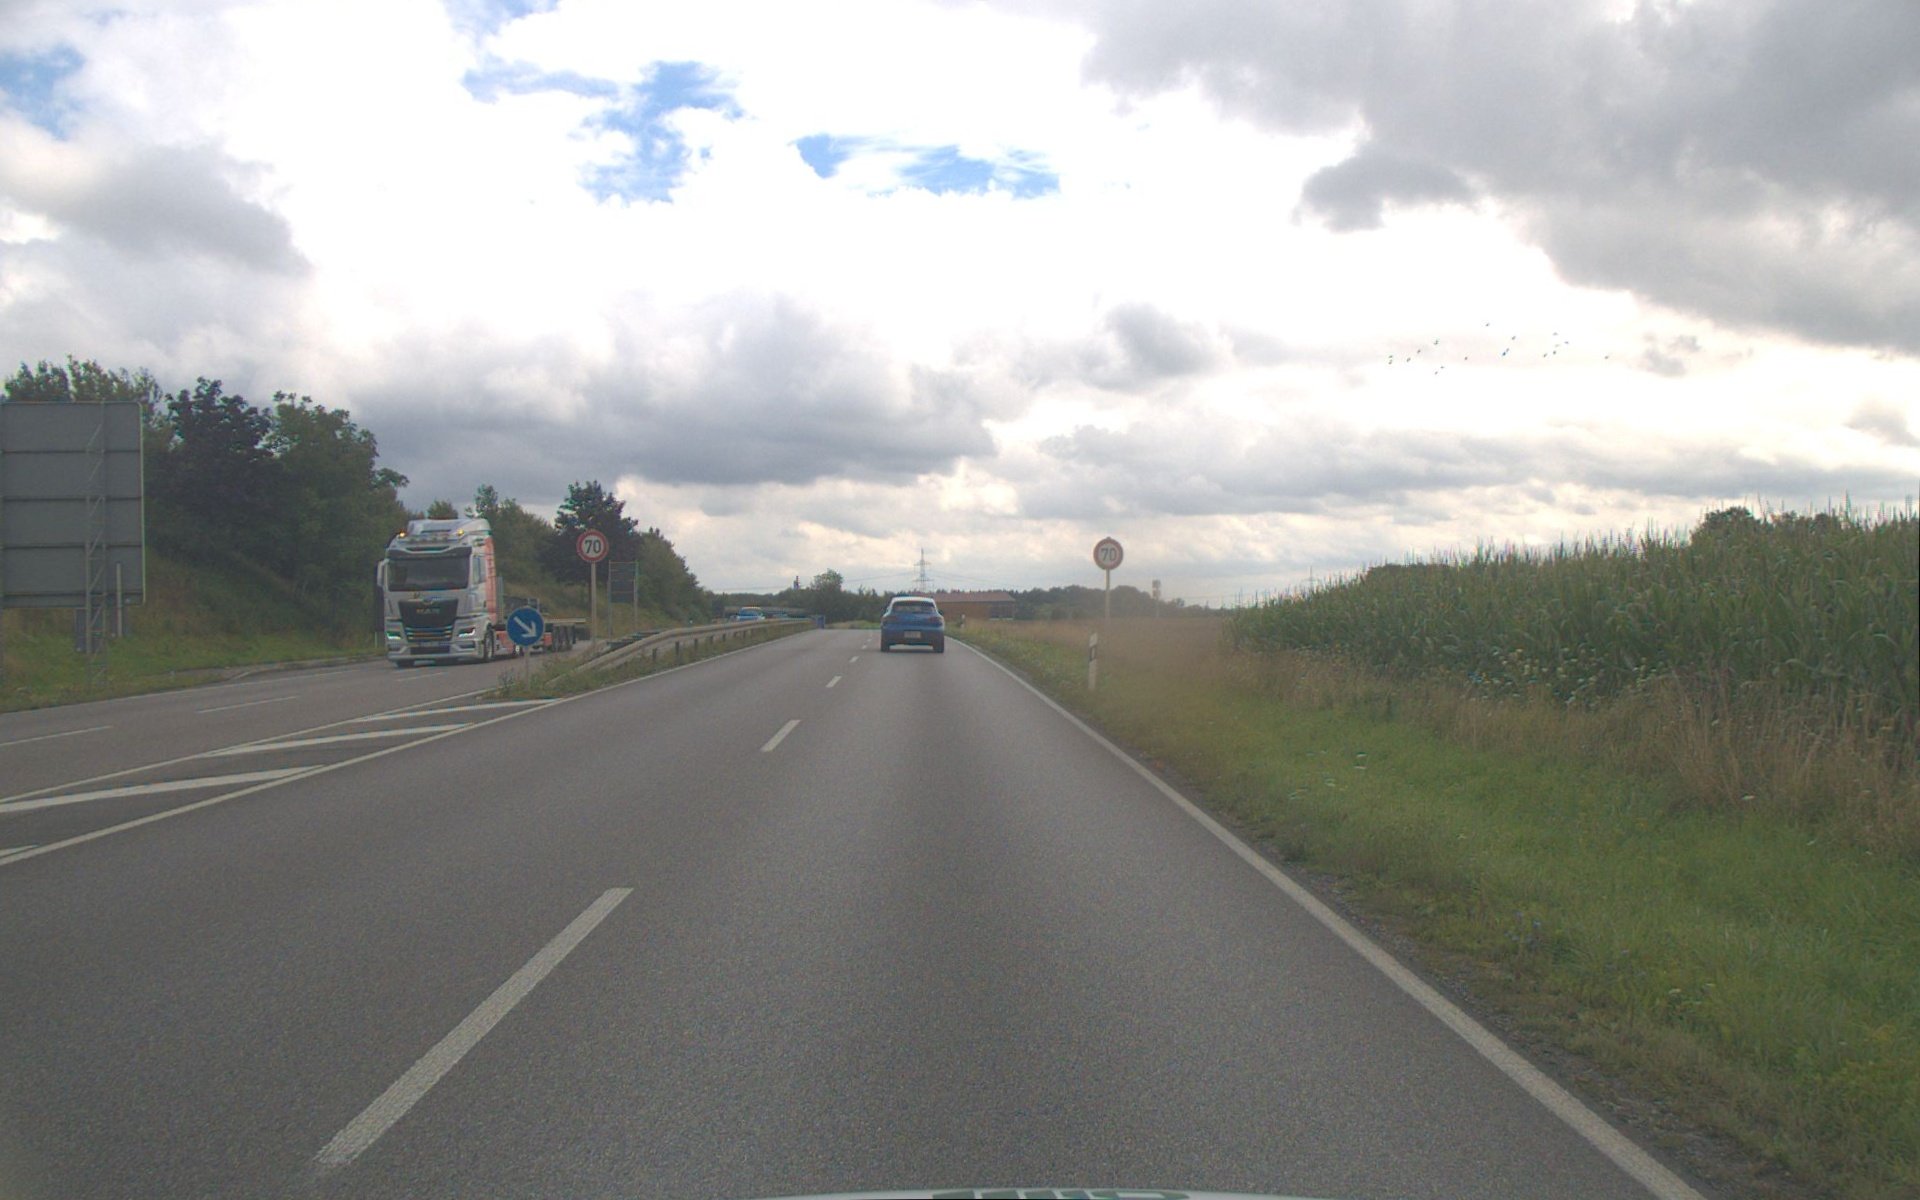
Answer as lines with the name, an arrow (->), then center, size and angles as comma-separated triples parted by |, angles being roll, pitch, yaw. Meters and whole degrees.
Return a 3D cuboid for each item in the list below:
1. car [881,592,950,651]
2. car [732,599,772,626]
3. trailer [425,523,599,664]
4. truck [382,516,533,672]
car -> -1.381, 0.626, 50.215 | 1.992, 1.689, 4.541 | 1, 0, -3
car -> -12.609, 0.717, 100.464 | 2.044, 1.545, 4.192 | -1, 1, -2
trailer -> -14.299, -0.242, 54.043 | 2.720, 4.016, 12.978 | -1, 1, -3
truck -> -13.944, -0.187, 46.270 | 2.746, 4.067, 5.284 | -1, 0, -3
